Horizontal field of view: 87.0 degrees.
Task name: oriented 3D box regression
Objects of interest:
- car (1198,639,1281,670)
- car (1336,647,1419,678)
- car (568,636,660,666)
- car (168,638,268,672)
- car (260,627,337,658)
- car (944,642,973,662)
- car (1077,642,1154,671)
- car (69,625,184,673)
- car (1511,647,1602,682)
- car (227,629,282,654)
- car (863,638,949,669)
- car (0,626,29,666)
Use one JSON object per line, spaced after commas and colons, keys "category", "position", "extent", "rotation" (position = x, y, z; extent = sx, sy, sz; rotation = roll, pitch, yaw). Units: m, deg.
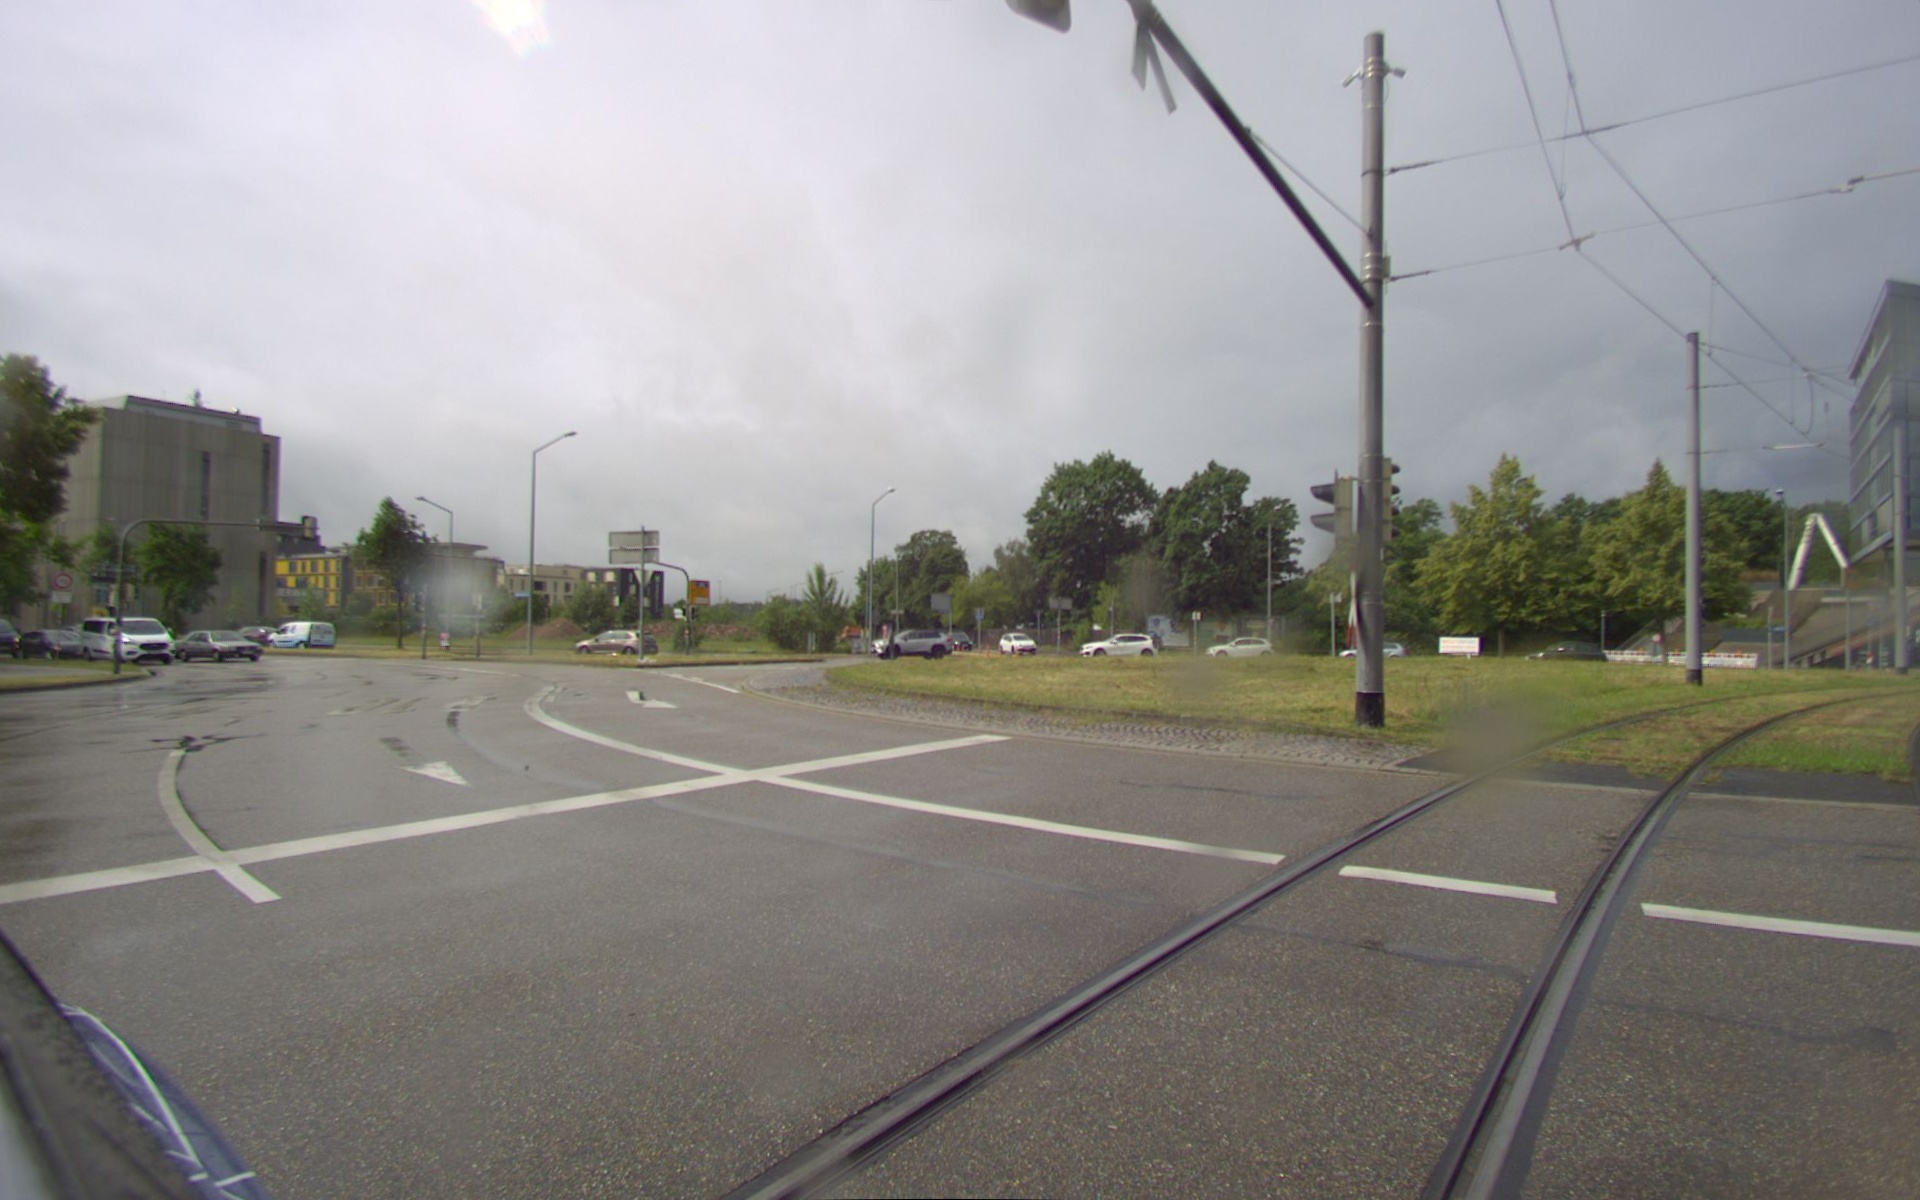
{"category": "car", "position": [16.762, 3.297, 60.882], "extent": [4.409, 1.685, 1.866], "rotation": [2, -3, 1]}
{"category": "car", "position": [25.157, 3.738, 60.972], "extent": [4.453, 1.685, 1.847], "rotation": [0, -4, 30]}
{"category": "car", "position": [-17.414, 2.585, 51.024], "extent": [4.084, 1.424, 1.729], "rotation": [-1, -3, 12]}
{"category": "car", "position": [-33.804, 2.484, 46.061], "extent": [4.528, 1.391, 1.850], "rotation": [-1, -1, 27]}
{"category": "car", "position": [-40.281, 2.603, 61.641], "extent": [4.527, 1.776, 1.851], "rotation": [-1, -3, 26]}
{"category": "car", "position": [-0.172, 4.705, 91.371], "extent": [1.846, 1.676, 4.491], "rotation": [2, -4, -9]}
{"category": "car", "position": [8.567, 3.131, 55.774], "extent": [3.842, 1.519, 1.730], "rotation": [1, -3, -8]}
{"category": "car", "position": [-36.205, 2.130, 43.957], "extent": [4.776, 2.003, 2.059], "rotation": [-1, -3, 27]}
{"category": "car", "position": [31.413, 3.362, 53.417], "extent": [3.793, 1.685, 1.854], "rotation": [0, -2, 20]}
{"category": "car", "position": [-50.030, 2.926, 71.755], "extent": [4.492, 1.670, 1.851], "rotation": [-2, -4, 37]}
{"category": "car", "position": [-2.981, 2.933, 56.026], "extent": [4.405, 1.676, 1.881], "rotation": [1, -3, -20]}
{"category": "car", "position": [-49.167, 2.315, 50.874], "extent": [4.780, 2.003, 2.058], "rotation": [-2, -4, 30]}
